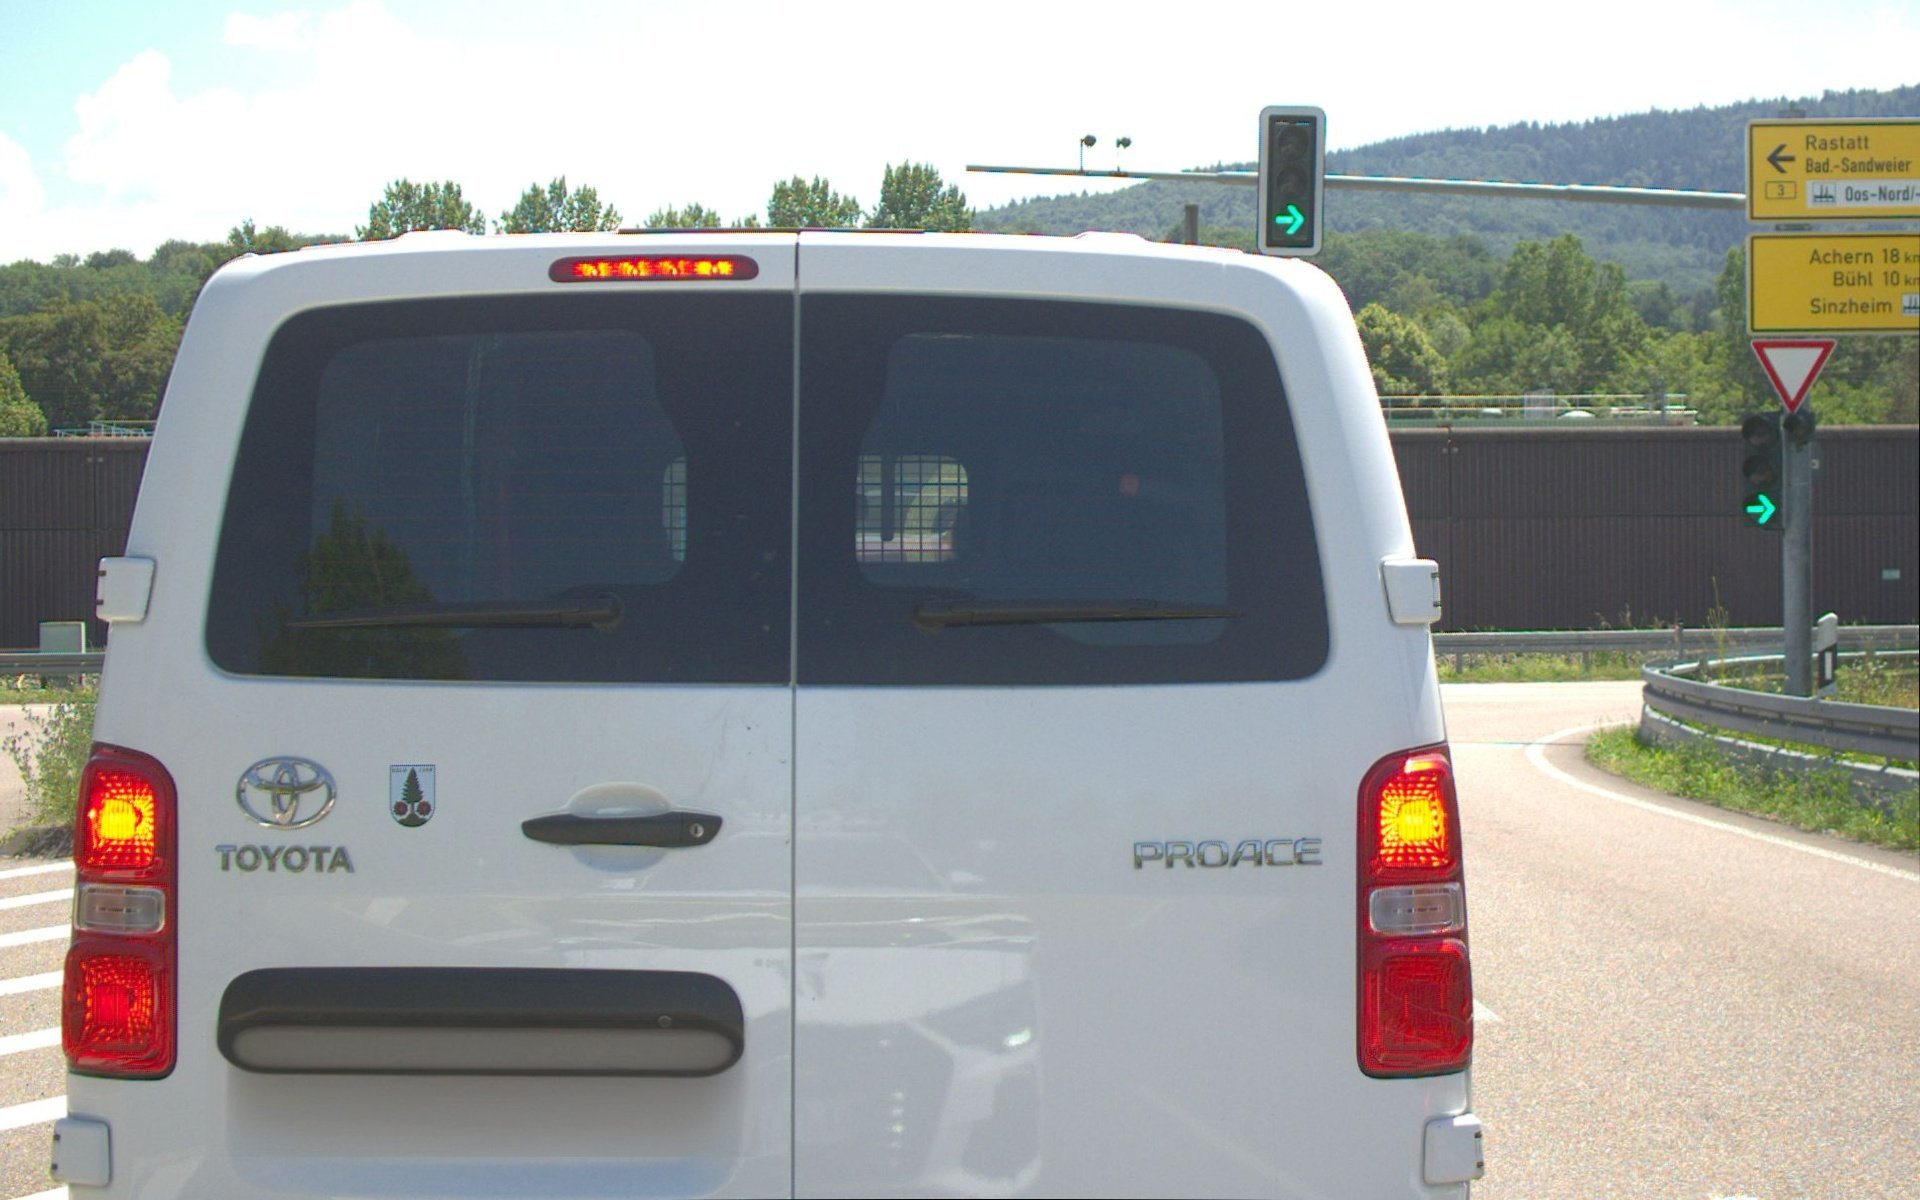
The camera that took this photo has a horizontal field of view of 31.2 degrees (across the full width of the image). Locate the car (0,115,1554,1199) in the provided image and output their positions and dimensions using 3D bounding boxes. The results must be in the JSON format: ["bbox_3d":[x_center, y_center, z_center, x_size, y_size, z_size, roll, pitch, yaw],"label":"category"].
[{"bbox_3d":[-0.255,0.437,5.925,1.814,2.011,4.000,0,1,-1],"label":"car"}]
